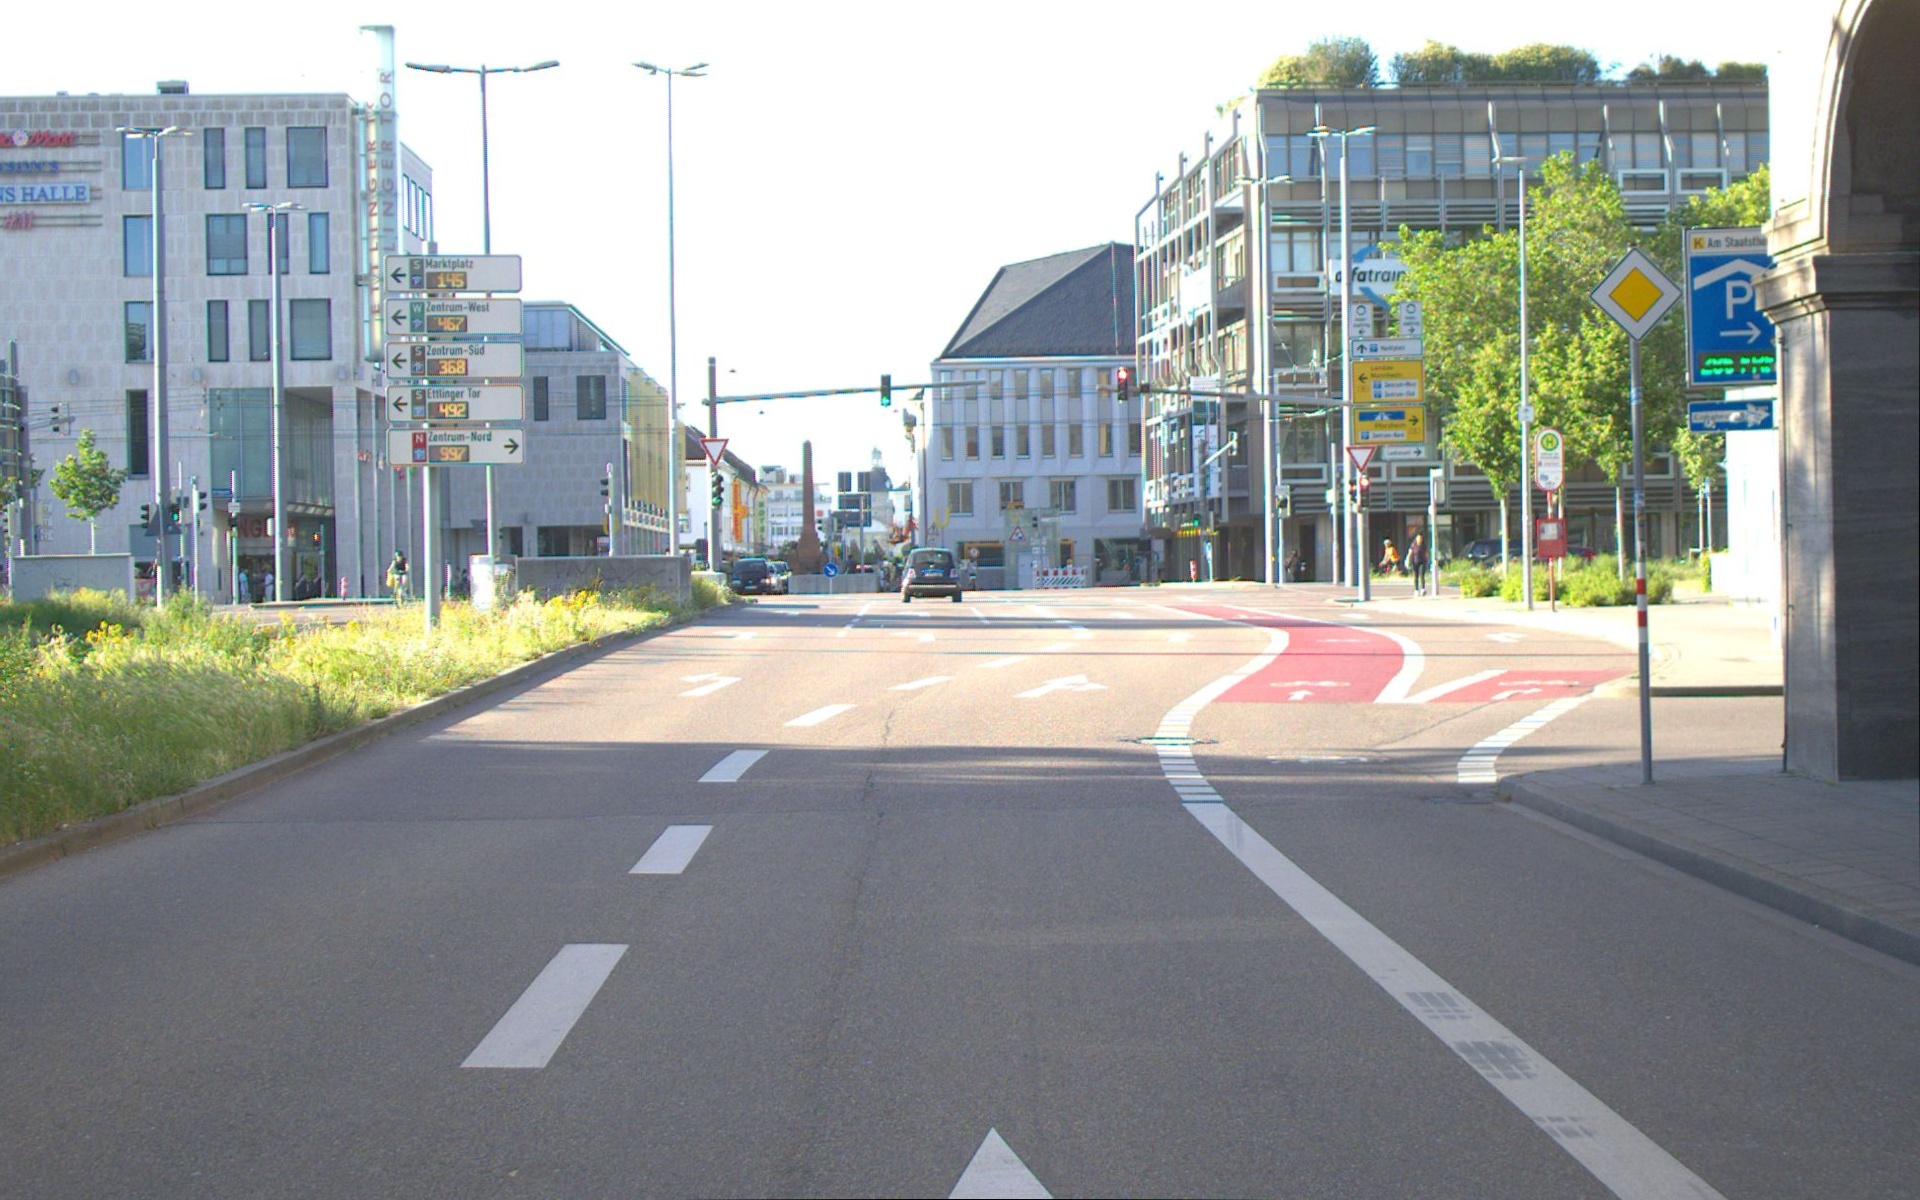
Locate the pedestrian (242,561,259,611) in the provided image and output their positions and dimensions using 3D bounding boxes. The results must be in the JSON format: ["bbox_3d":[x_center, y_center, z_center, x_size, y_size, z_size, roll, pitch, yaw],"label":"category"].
[{"bbox_3d":[-28.720,-0.573,139.215,0.622,2.007,0.516,-1,1,-9],"label":"pedestrian"}]

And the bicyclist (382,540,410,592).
[{"bbox_3d":[-16.222,-0.984,98.881,0.607,1.484,0.681,-1,1,5],"label":"bicyclist"}]

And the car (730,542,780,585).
[{"bbox_3d":[-9.042,-1.630,151.845,1.993,1.736,4.647,-1,2,-1],"label":"car"}]

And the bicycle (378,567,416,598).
[{"bbox_3d":[-16.212,-0.500,98.973,0.612,0.858,1.950,-1,1,5],"label":"bicycle"}]

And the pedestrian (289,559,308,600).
[{"bbox_3d":[-26.576,-0.821,138.123,0.623,1.602,0.653,-1,1,-1],"label":"pedestrian"}]

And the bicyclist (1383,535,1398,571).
[{"bbox_3d":[15.854,-1.723,126.559,0.508,1.334,0.452,-1,1,3],"label":"bicyclist"}]

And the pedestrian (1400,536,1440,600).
[{"bbox_3d":[12.705,-0.882,94.989,0.822,1.742,1.040,-2,0,22],"label":"pedestrian"}]

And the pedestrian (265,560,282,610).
[{"bbox_3d":[-27.916,-0.619,139.744,0.622,2.007,0.516,-1,1,-9],"label":"pedestrian"}]

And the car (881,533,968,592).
[{"bbox_3d":[-1.011,-1.051,95.215,1.775,1.558,3.790,-1,1,-10],"label":"car"}]
